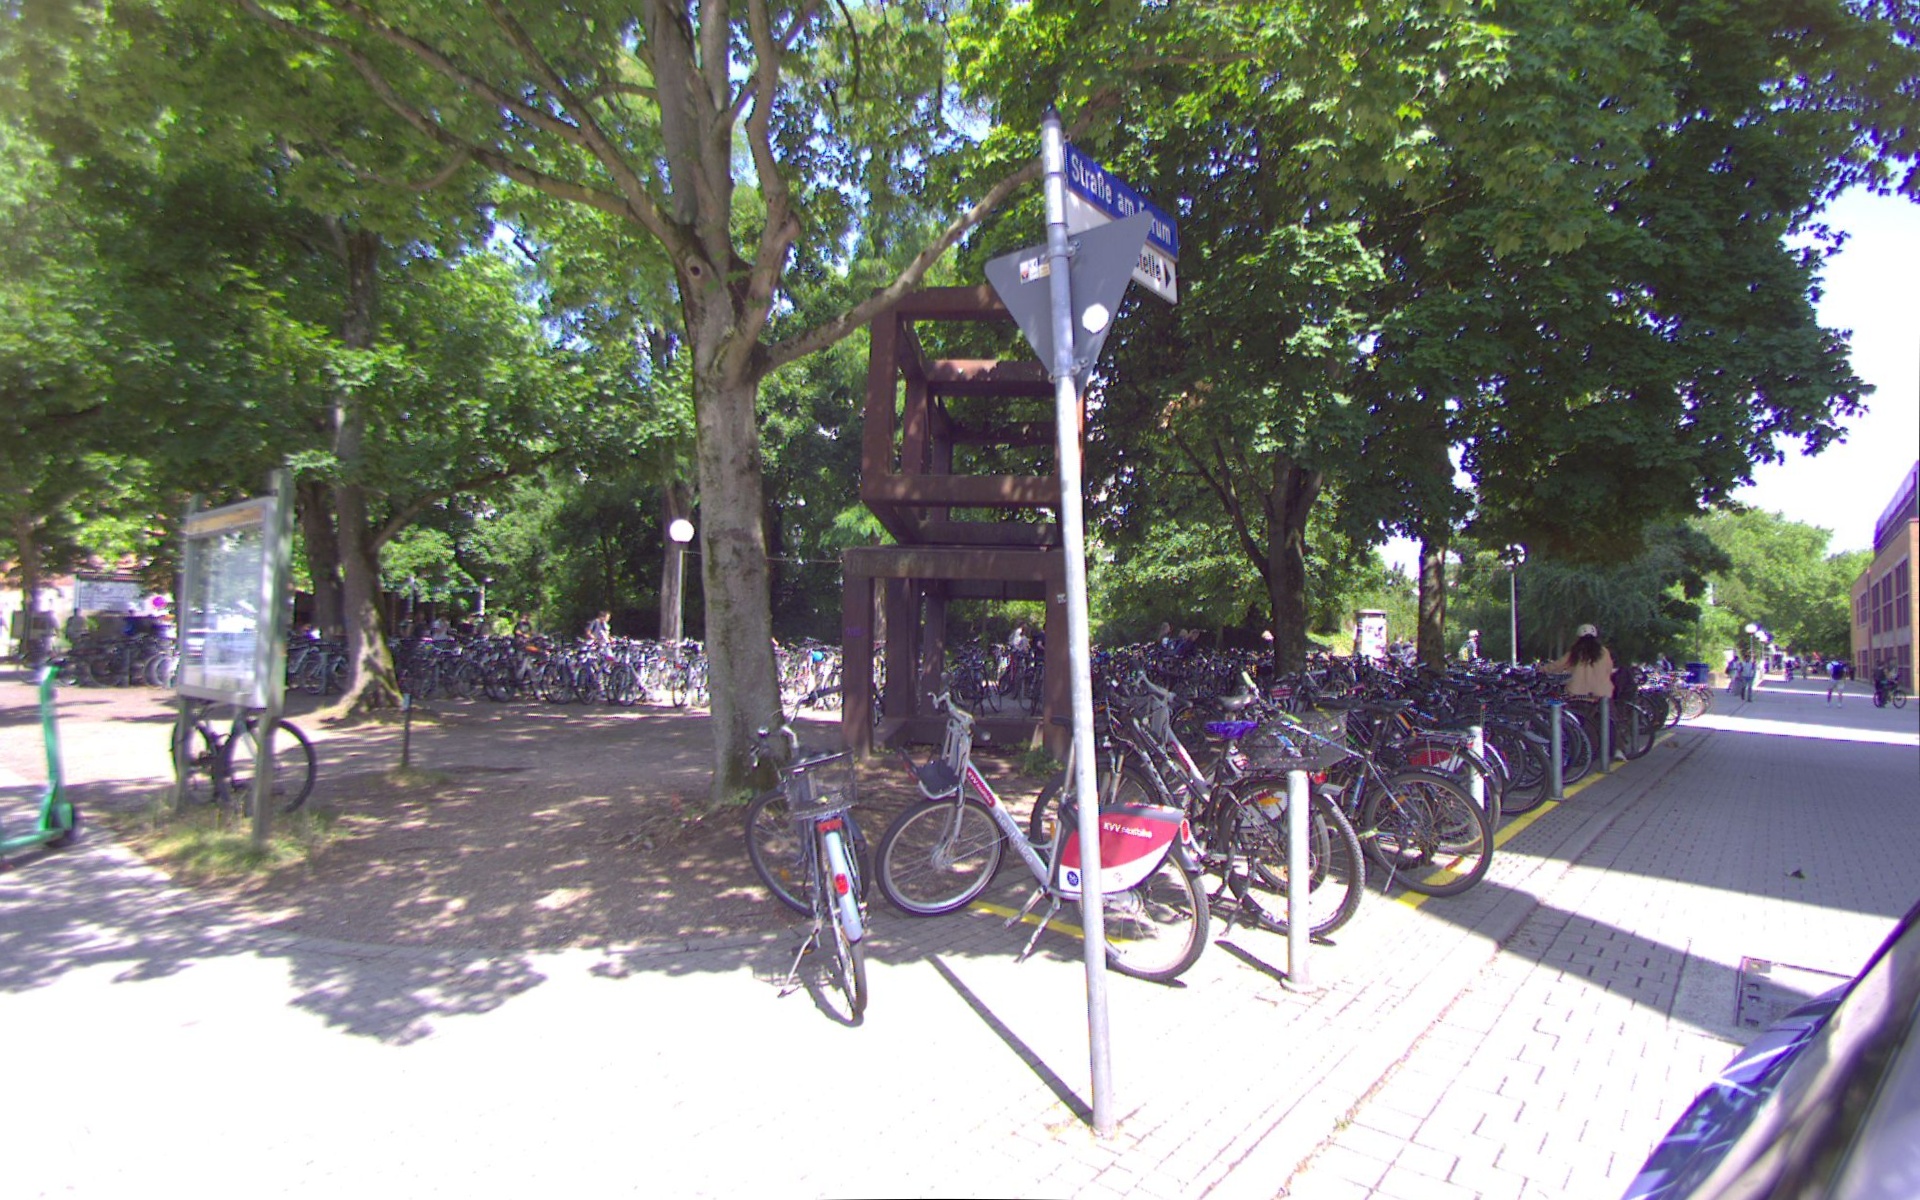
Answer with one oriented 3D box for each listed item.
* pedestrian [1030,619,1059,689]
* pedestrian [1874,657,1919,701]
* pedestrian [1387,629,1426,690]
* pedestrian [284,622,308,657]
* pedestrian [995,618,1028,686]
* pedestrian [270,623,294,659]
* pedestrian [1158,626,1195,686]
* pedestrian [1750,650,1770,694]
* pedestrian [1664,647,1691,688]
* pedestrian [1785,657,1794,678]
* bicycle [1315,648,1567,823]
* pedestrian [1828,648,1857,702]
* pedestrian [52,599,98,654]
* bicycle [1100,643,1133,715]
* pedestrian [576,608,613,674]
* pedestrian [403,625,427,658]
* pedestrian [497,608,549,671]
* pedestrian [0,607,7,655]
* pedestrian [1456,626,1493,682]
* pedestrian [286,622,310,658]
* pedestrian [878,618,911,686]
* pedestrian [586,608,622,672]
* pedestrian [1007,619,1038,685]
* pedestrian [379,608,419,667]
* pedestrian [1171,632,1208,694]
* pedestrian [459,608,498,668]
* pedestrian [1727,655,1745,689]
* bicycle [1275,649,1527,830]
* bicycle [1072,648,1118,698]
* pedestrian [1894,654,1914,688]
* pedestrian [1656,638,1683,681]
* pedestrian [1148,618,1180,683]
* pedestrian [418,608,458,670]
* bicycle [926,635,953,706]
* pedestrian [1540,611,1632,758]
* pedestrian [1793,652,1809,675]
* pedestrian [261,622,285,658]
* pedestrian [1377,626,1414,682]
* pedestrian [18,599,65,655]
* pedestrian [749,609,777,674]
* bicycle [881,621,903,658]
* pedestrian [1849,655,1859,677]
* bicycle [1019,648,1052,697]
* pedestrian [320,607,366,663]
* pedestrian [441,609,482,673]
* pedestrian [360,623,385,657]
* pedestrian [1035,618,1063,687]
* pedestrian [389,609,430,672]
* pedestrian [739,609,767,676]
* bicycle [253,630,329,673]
[{"bbox_3d":[2.205,1.401,26.418,0.708,1.798,0.656,1,-2,4],"label":"pedestrian"},{"bbox_3d":[34.347,2.890,37.026,1.182,1.531,0.730,0,0,-7],"label":"pedestrian"},{"bbox_3d":[12.097,1.597,27.406,0.708,1.590,0.743,3,-3,-42],"label":"pedestrian"},{"bbox_3d":[-26.641,1.573,40.608,0.724,1.364,0.564,0,0,36],"label":"pedestrian"},{"bbox_3d":[1.389,1.381,27.125,0.710,1.798,0.741,1,-2,14],"label":"pedestrian"},{"bbox_3d":[-26.469,1.574,39.488,0.724,1.364,0.564,0,0,36],"label":"pedestrian"},{"bbox_3d":[5.856,1.499,27.367,0.706,1.590,0.746,2,-2,-13],"label":"pedestrian"},{"bbox_3d":[29.159,2.629,36.894,0.513,1.531,0.681,0,0,42],"label":"pedestrian"},{"bbox_3d":[27.819,2.605,39.237,0.505,1.531,0.692,0,0,-4],"label":"pedestrian"},{"bbox_3d":[74.810,6.106,91.304,0.791,1.786,0.563,0,0,-44],"label":"pedestrian"},{"bbox_3d":[3.726,0.992,7.944,0.557,1.139,1.692,1,0,-44],"label":"bicycle"},{"bbox_3d":[30.498,2.574,34.974,0.560,1.786,0.796,0,0,27],"label":"pedestrian"},{"bbox_3d":[-32.476,0.962,37.139,1.065,1.974,0.829,0,-1,20],"label":"pedestrian"},{"bbox_3d":[2.751,1.362,17.884,0.429,1.185,1.842,1,-2,4],"label":"bicycle"},{"bbox_3d":[-10.172,1.146,28.160,0.707,1.798,0.744,1,-2,0],"label":"pedestrian"},{"bbox_3d":[-21.916,1.659,40.716,0.618,1.287,0.660,0,0,36],"label":"pedestrian"},{"bbox_3d":[-12.848,1.145,29.767,0.959,1.798,0.957,1,-2,18],"label":"pedestrian"},{"bbox_3d":[-38.200,1.209,39.908,0.820,1.879,0.756,-2,-3,40],"label":"pedestrian"},{"bbox_3d":[14.901,1.563,29.310,0.708,1.590,0.743,3,-3,-42],"label":"pedestrian"},{"bbox_3d":[-26.138,1.576,39.959,0.724,1.364,0.564,0,0,36],"label":"pedestrian"},{"bbox_3d":[-1.773,1.397,27.459,0.709,1.798,0.743,1,-2,9],"label":"pedestrian"},{"bbox_3d":[-10.177,1.138,28.951,0.707,1.798,0.744,1,-2,0],"label":"pedestrian"},{"bbox_3d":[1.729,1.428,27.974,0.710,1.798,0.741,1,-2,13],"label":"pedestrian"},{"bbox_3d":[-17.457,1.153,31.498,0.710,1.798,0.741,1,-2,15],"label":"pedestrian"},{"bbox_3d":[6.009,1.641,26.555,0.706,1.590,0.745,1,-2,-8],"label":"pedestrian"},{"bbox_3d":[-14.653,1.142,30.809,0.715,1.798,0.736,0,-2,32],"label":"pedestrian"},{"bbox_3d":[36.687,3.386,47.854,0.688,1.531,0.508,0,0,39],"label":"pedestrian"},{"bbox_3d":[3.288,0.986,7.663,0.474,1.139,1.692,1,0,-44],"label":"bicycle"},{"bbox_3d":[2.968,1.589,22.370,0.469,0.991,1.906,0,-2,-9],"label":"bicycle"},{"bbox_3d":[52.567,3.965,56.354,0.740,1.786,0.961,0,0,39],"label":"pedestrian"},{"bbox_3d":[26.343,2.206,37.573,0.505,1.531,0.692,0,0,-4],"label":"pedestrian"},{"bbox_3d":[5.810,1.418,28.833,0.706,1.813,0.745,1,-2,-4],"label":"pedestrian"},{"bbox_3d":[-15.553,1.154,30.157,0.715,1.798,0.736,0,-2,32],"label":"pedestrian"},{"bbox_3d":[-0.359,1.233,18.082,0.406,1.185,1.844,1,-2,1],"label":"bicycle"},{"bbox_3d":[7.696,1.018,12.451,0.939,1.725,0.422,0,-4,36],"label":"pedestrian"},{"bbox_3d":[69.204,5.207,83.275,0.787,1.786,0.669,0,0,-18],"label":"pedestrian"},{"bbox_3d":[-27.110,1.582,39.954,0.724,1.364,0.564,0,0,36],"label":"pedestrian"},{"bbox_3d":[12.734,1.576,29.590,0.708,1.590,0.743,3,-3,-42],"label":"pedestrian"},{"bbox_3d":[-32.818,0.948,36.172,1.065,1.974,0.829,0,-1,20],"label":"pedestrian"},{"bbox_3d":[-5.587,1.167,28.675,0.706,1.798,0.746,2,-2,-12],"label":"pedestrian"},{"bbox_3d":[-2.049,1.183,30.626,0.470,1.107,1.610,0,-2,2],"label":"bicycle"},{"bbox_3d":[74.686,5.492,84.538,0.791,1.786,0.563,0,0,-44],"label":"pedestrian"},{"bbox_3d":[1.674,1.592,22.532,0.469,0.991,1.904,0,-2,-4],"label":"bicycle"},{"bbox_3d":[-20.444,1.151,33.544,0.912,1.798,0.950,0,-2,32],"label":"pedestrian"},{"bbox_3d":[-14.252,1.159,28.934,0.709,1.798,0.742,1,-2,9],"label":"pedestrian"},{"bbox_3d":[-23.795,1.610,41.005,0.715,1.363,0.660,0,0,36],"label":"pedestrian"},{"bbox_3d":[2.386,1.386,26.977,0.708,1.798,0.743,1,-2,6],"label":"pedestrian"},{"bbox_3d":[-16.001,1.164,29.442,0.715,1.798,0.736,0,-2,32],"label":"pedestrian"},{"bbox_3d":[-5.688,1.156,27.805,0.706,1.798,0.746,2,-2,-12],"label":"pedestrian"},{"bbox_3d":[-19.036,1.446,28.850,0.473,1.158,1.890,-1,-2,20],"label":"bicycle"}]
